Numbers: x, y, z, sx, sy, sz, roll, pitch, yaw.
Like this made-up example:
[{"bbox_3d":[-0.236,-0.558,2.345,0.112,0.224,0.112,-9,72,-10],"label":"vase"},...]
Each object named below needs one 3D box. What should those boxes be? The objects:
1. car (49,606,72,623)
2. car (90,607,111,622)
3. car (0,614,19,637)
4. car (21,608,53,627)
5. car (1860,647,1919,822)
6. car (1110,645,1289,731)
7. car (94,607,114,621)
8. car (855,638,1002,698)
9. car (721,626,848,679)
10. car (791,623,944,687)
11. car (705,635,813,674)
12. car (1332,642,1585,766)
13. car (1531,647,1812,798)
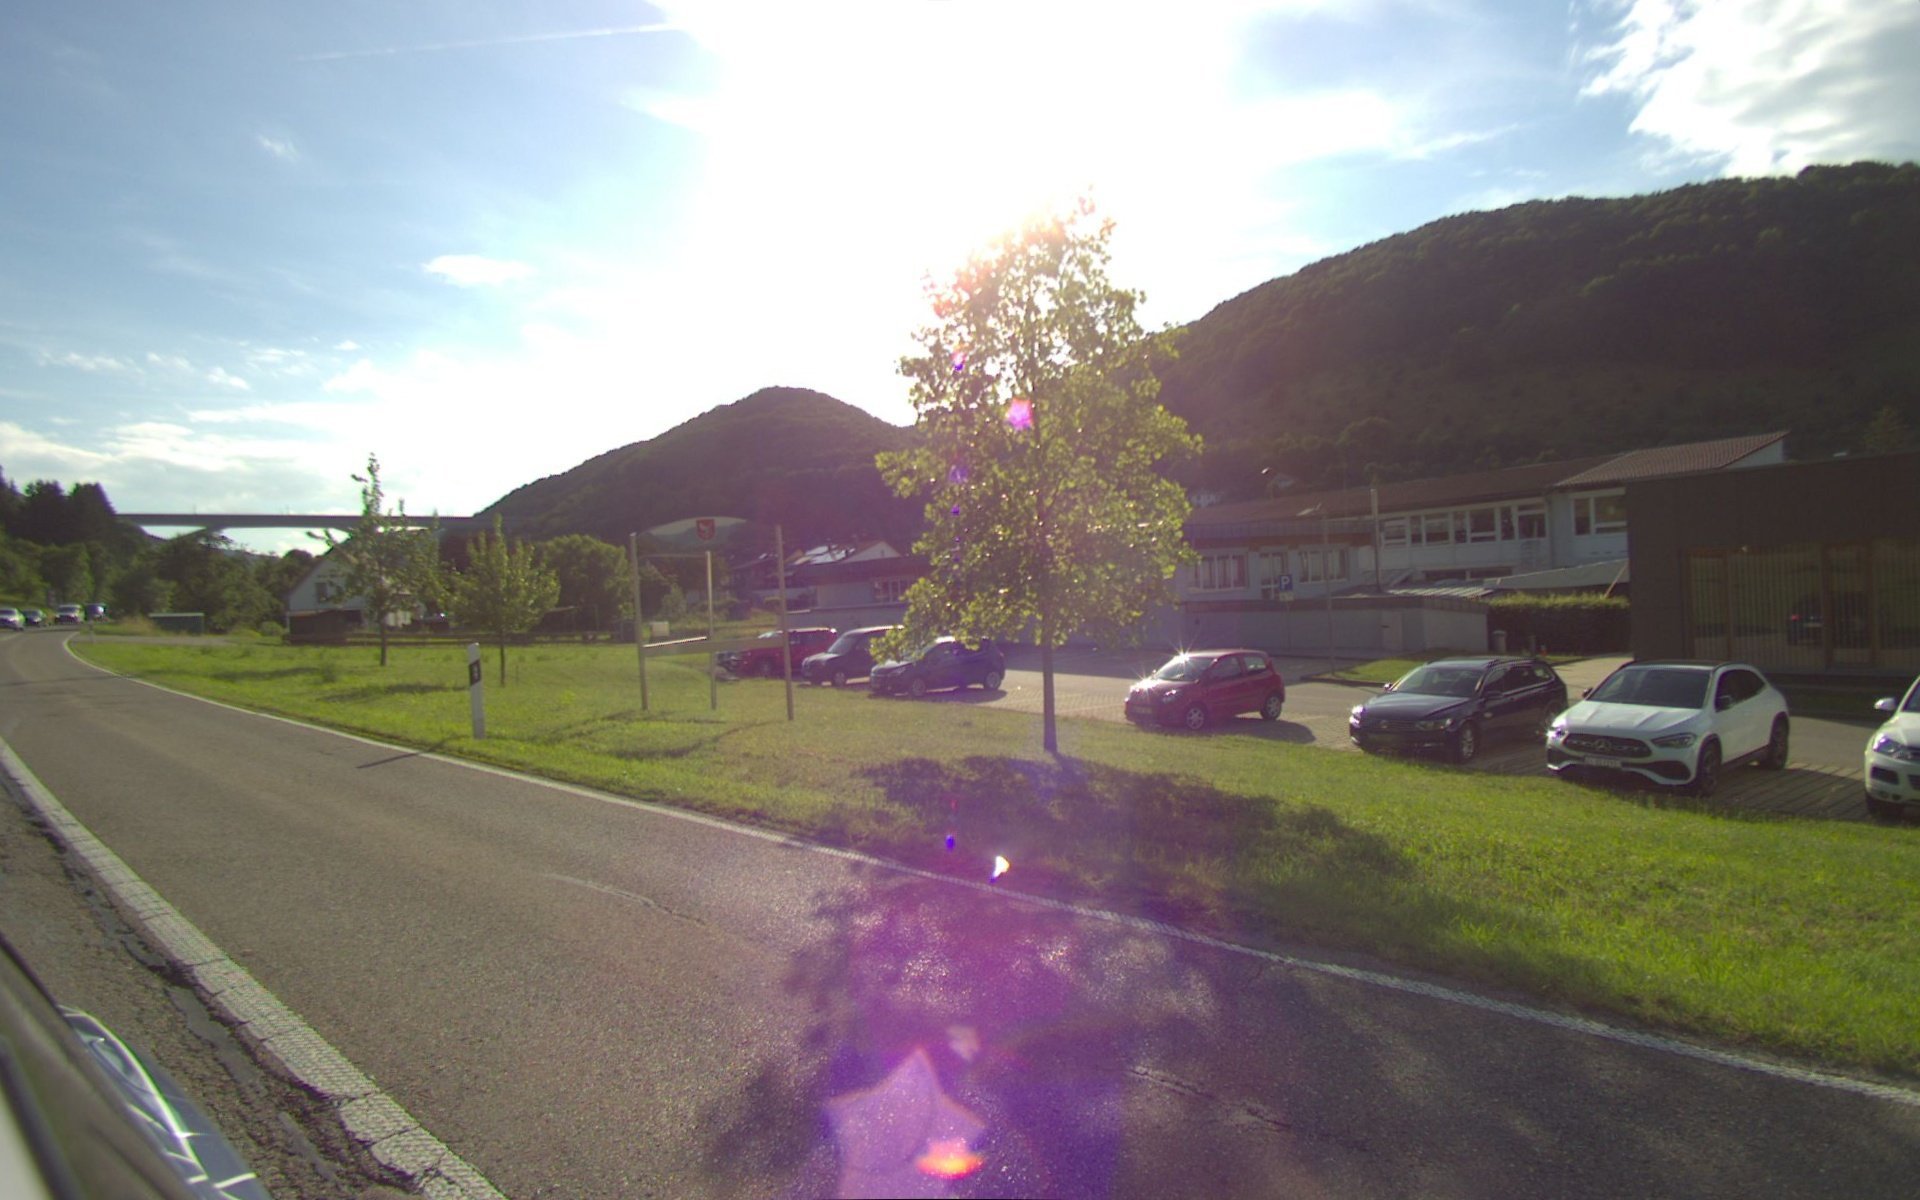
[{"bbox_3d":[-86.065,1.385,96.822,1.606,1.490,3.684,-1,1,-42],"label":"car"},{"bbox_3d":[-92.506,1.525,108.946,1.605,1.490,3.687,-1,1,-38],"label":"car"},{"bbox_3d":[-66.415,1.756,70.188,1.607,1.490,3.682,-1,1,-45],"label":"car"},{"bbox_3d":[-75.755,1.432,83.077,1.605,1.490,3.687,-1,1,-38],"label":"car"},{"bbox_3d":[12.283,1.472,11.669,4.479,1.716,2.004,-1,1,-37],"label":"car"},{"bbox_3d":[4.979,1.740,20.882,3.672,1.408,1.619,-1,1,-37],"label":"car"},{"bbox_3d":[-100.275,1.641,118.536,1.605,1.490,3.687,-1,1,-38],"label":"car"},{"bbox_3d":[-0.851,1.898,28.982,3.956,1.463,1.688,-1,-2,-39],"label":"car"},{"bbox_3d":[-6.514,1.906,37.699,4.262,1.681,1.853,-1,0,-33],"label":"car"},{"bbox_3d":[-2.994,1.735,33.460,4.928,1.807,1.688,-1,1,-39],"label":"car"},{"bbox_3d":[-8.021,2.140,40.520,3.835,1.379,1.857,0,0,-36],"label":"car"},{"bbox_3d":[8.420,1.606,16.957,4.479,1.566,2.004,-1,1,-37],"label":"car"},{"bbox_3d":[10.215,1.584,14.414,4.479,1.566,2.004,-1,1,-37],"label":"car"}]
